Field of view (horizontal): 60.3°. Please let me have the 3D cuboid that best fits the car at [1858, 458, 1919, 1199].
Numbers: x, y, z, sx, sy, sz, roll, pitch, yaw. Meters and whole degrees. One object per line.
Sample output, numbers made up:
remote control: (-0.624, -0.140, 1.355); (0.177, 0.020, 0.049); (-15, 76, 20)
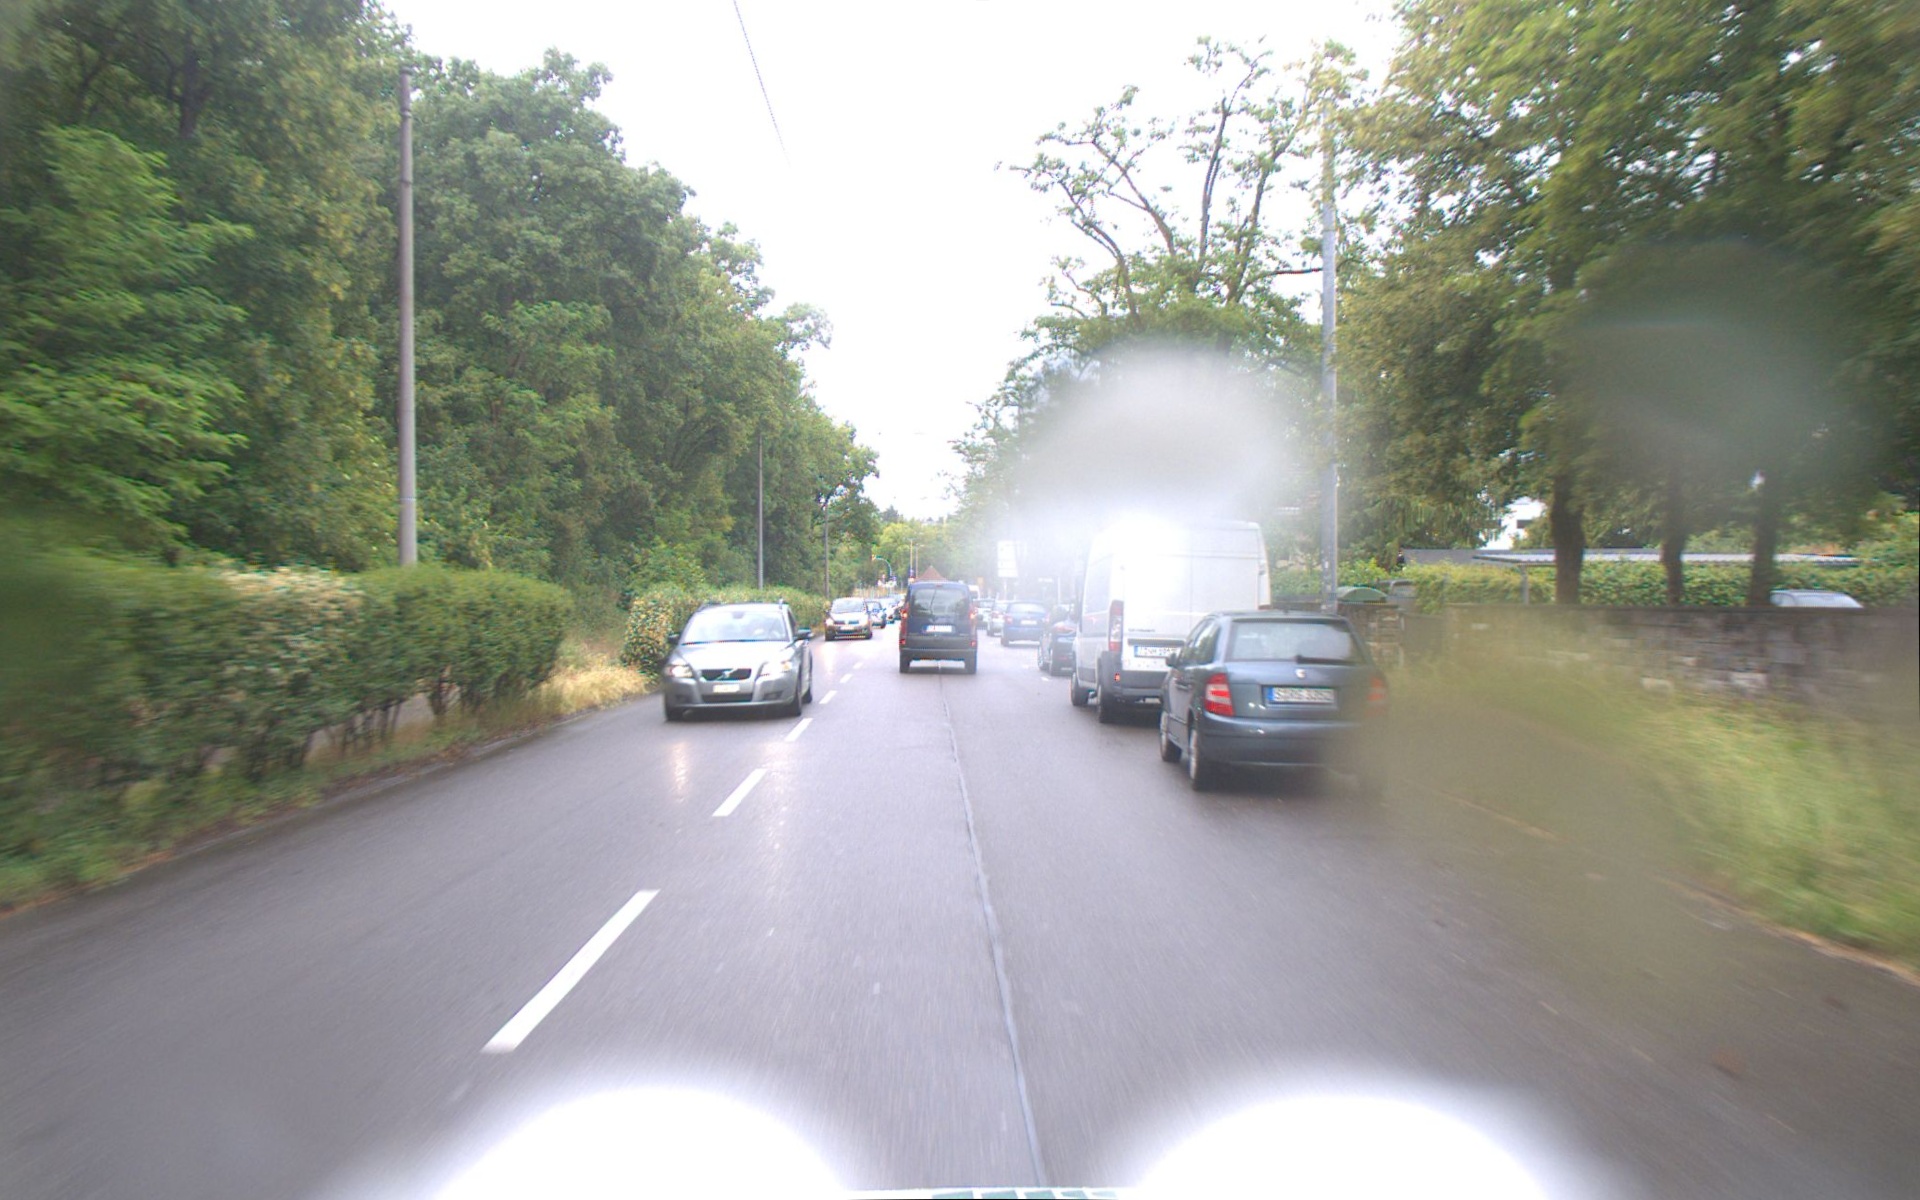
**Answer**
car: (3.281, 0.634, 2.094); (1.778, 1.845, 4.281); (1, 1, -3)
